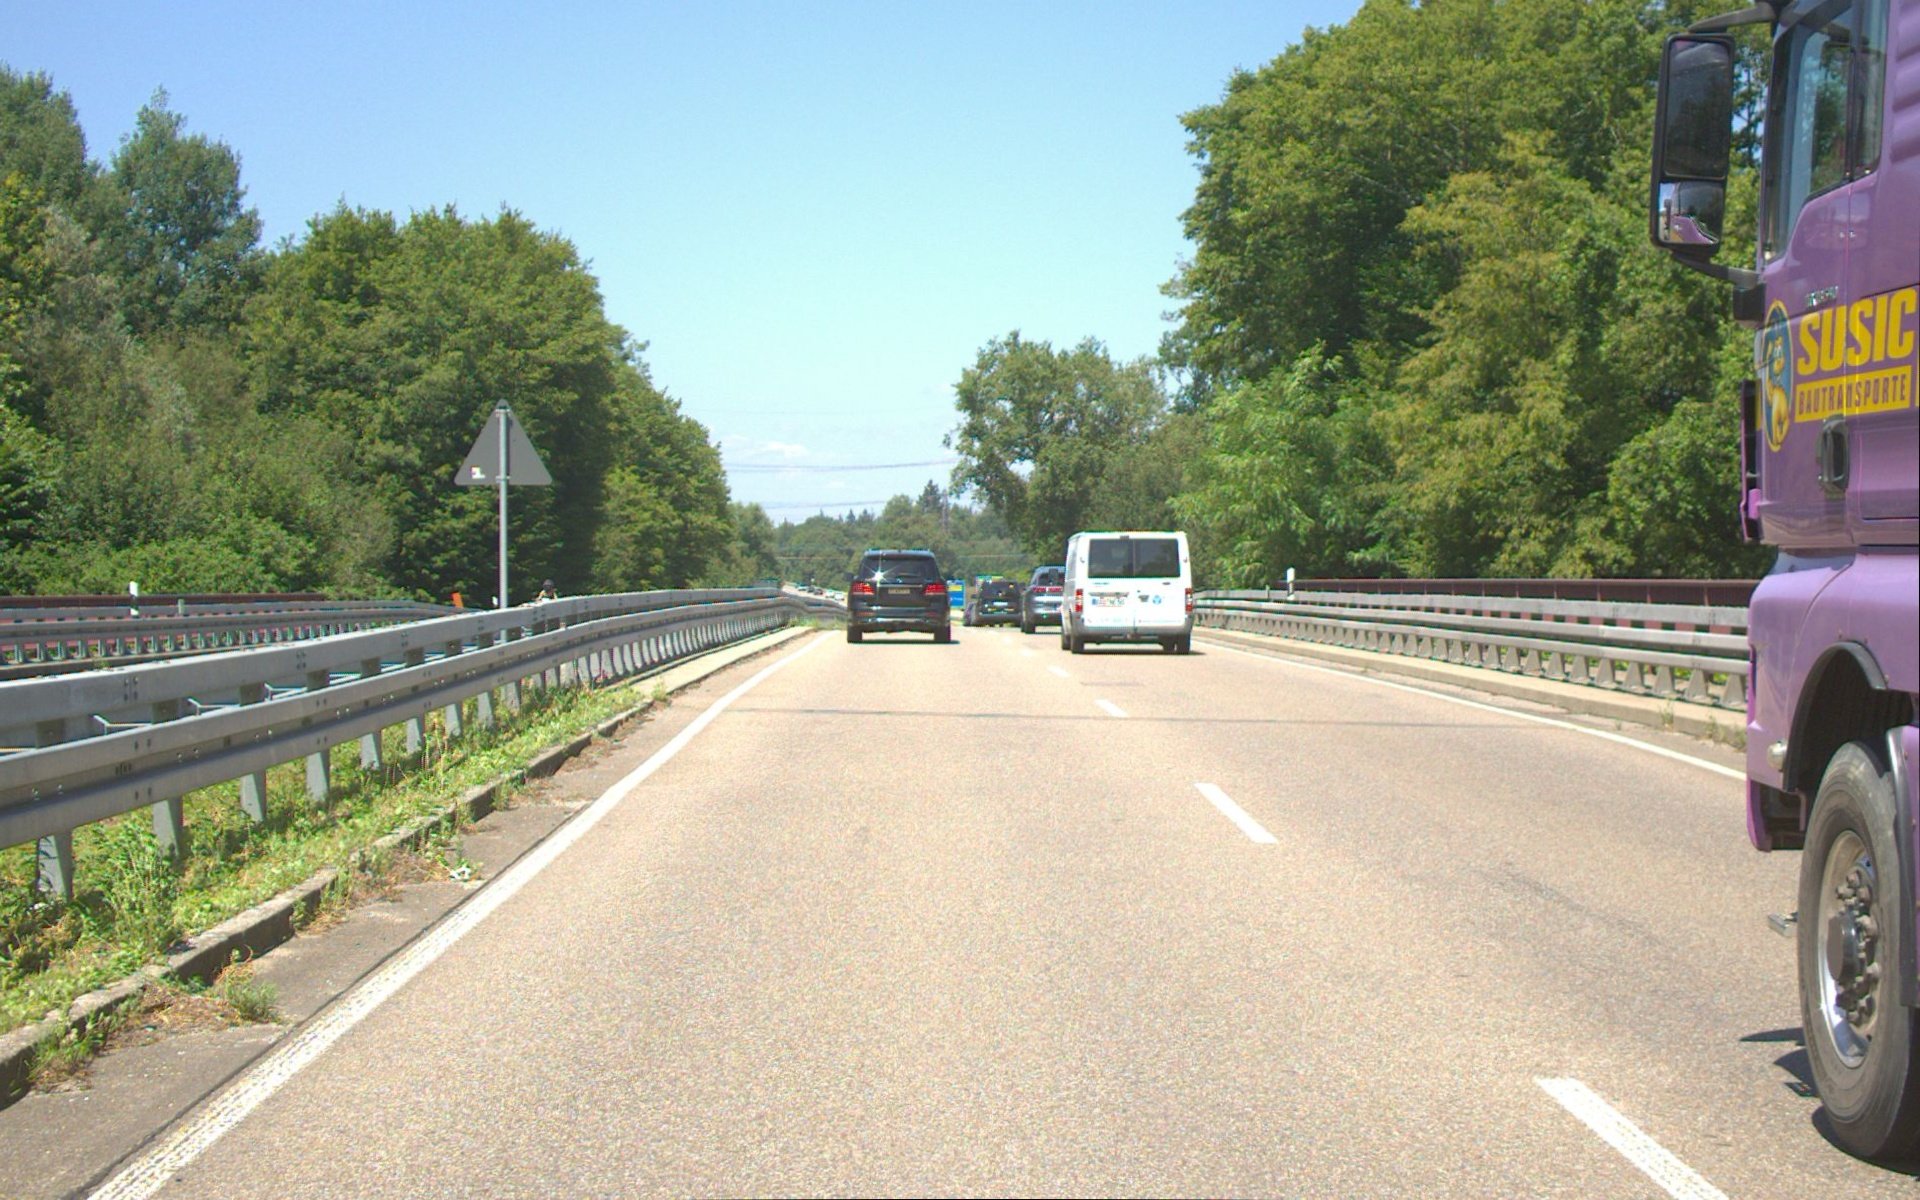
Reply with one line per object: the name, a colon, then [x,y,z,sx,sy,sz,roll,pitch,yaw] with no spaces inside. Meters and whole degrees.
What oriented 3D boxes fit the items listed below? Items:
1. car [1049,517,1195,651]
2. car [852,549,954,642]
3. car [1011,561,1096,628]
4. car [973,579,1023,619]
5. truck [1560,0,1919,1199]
car: [2.634,-0.286,56.690,1.993,2.070,4.001,-2,1,-2]
car: [-1.099,-0.060,64.680,1.857,1.666,4.000,1,-1,-2]
car: [2.104,-0.147,77.950,1.603,1.415,3.523,-2,1,-3]
car: [1.423,-0.042,130.323,1.603,1.415,3.523,-2,1,-3]
truck: [3.409,-0.423,4.531,2.720,3.916,12.371,0,1,-2]
